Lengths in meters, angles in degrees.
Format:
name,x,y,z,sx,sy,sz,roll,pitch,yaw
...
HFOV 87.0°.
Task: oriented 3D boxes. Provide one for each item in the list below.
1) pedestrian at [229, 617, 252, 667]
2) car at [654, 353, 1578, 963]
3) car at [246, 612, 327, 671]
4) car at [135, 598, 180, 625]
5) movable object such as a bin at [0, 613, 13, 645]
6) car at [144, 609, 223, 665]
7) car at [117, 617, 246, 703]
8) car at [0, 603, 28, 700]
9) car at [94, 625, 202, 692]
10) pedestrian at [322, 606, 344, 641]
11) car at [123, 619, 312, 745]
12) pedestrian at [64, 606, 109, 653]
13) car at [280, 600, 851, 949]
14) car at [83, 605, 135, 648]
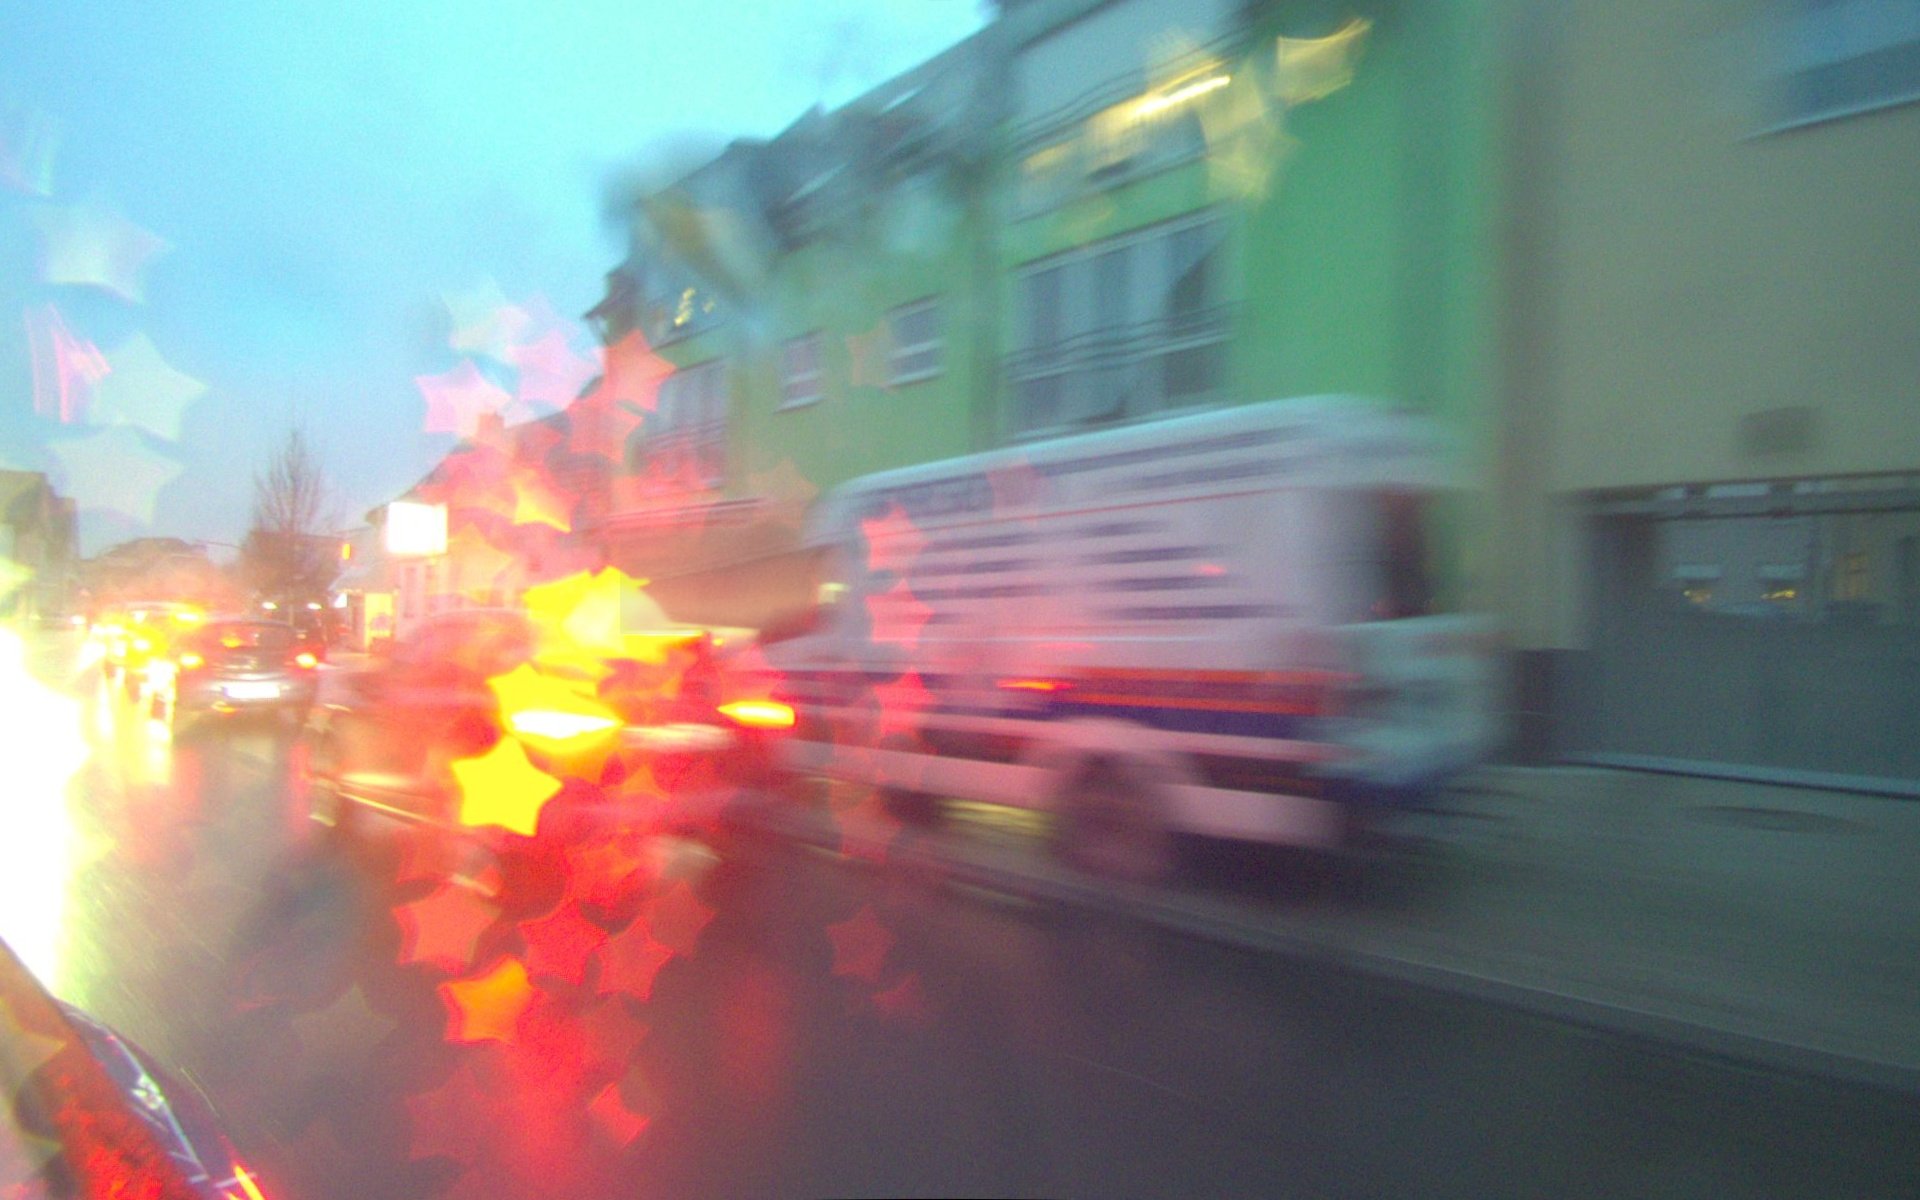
name,x,y,z,sx,sy,sz,roll,pitch,yaw
pedestrian,-23.322,1.354,32.801,0.521,1.597,0.577,1,-3,-39
car,0.441,0.245,7.586,2.456,2.579,6.767,0,0,-44
car,-21.632,1.266,32.437,1.856,1.723,4.722,0,-1,-38
car,-55.977,0.801,70.567,4.001,1.868,1.971,-1,-1,44
movable object such as a bin,-50.558,1.503,52.918,1.375,1.656,1.264,4,-4,-39
car,-26.403,1.270,34.357,1.968,1.719,4.976,-1,-1,-39
car,-15.888,1.192,20.681,1.833,1.567,4.266,5,-4,-38
car,-19.281,0.956,19.298,1.968,1.743,4.007,0,-1,-39
car,-20.966,1.549,26.062,1.927,1.559,4.421,3,-6,-41
pedestrian,-30.124,1.121,48.618,0.815,1.671,1.100,-1,-1,-35
car,-10.943,1.138,14.884,1.968,1.568,4.266,1,-3,-38
pedestrian,-35.519,1.197,41.150,1.001,1.890,0.940,0,-1,9
car,-2.839,0.846,6.757,4.227,1.576,1.896,0,-3,44
car,-42.672,1.303,50.795,1.968,2.029,4.007,0,-1,-40
